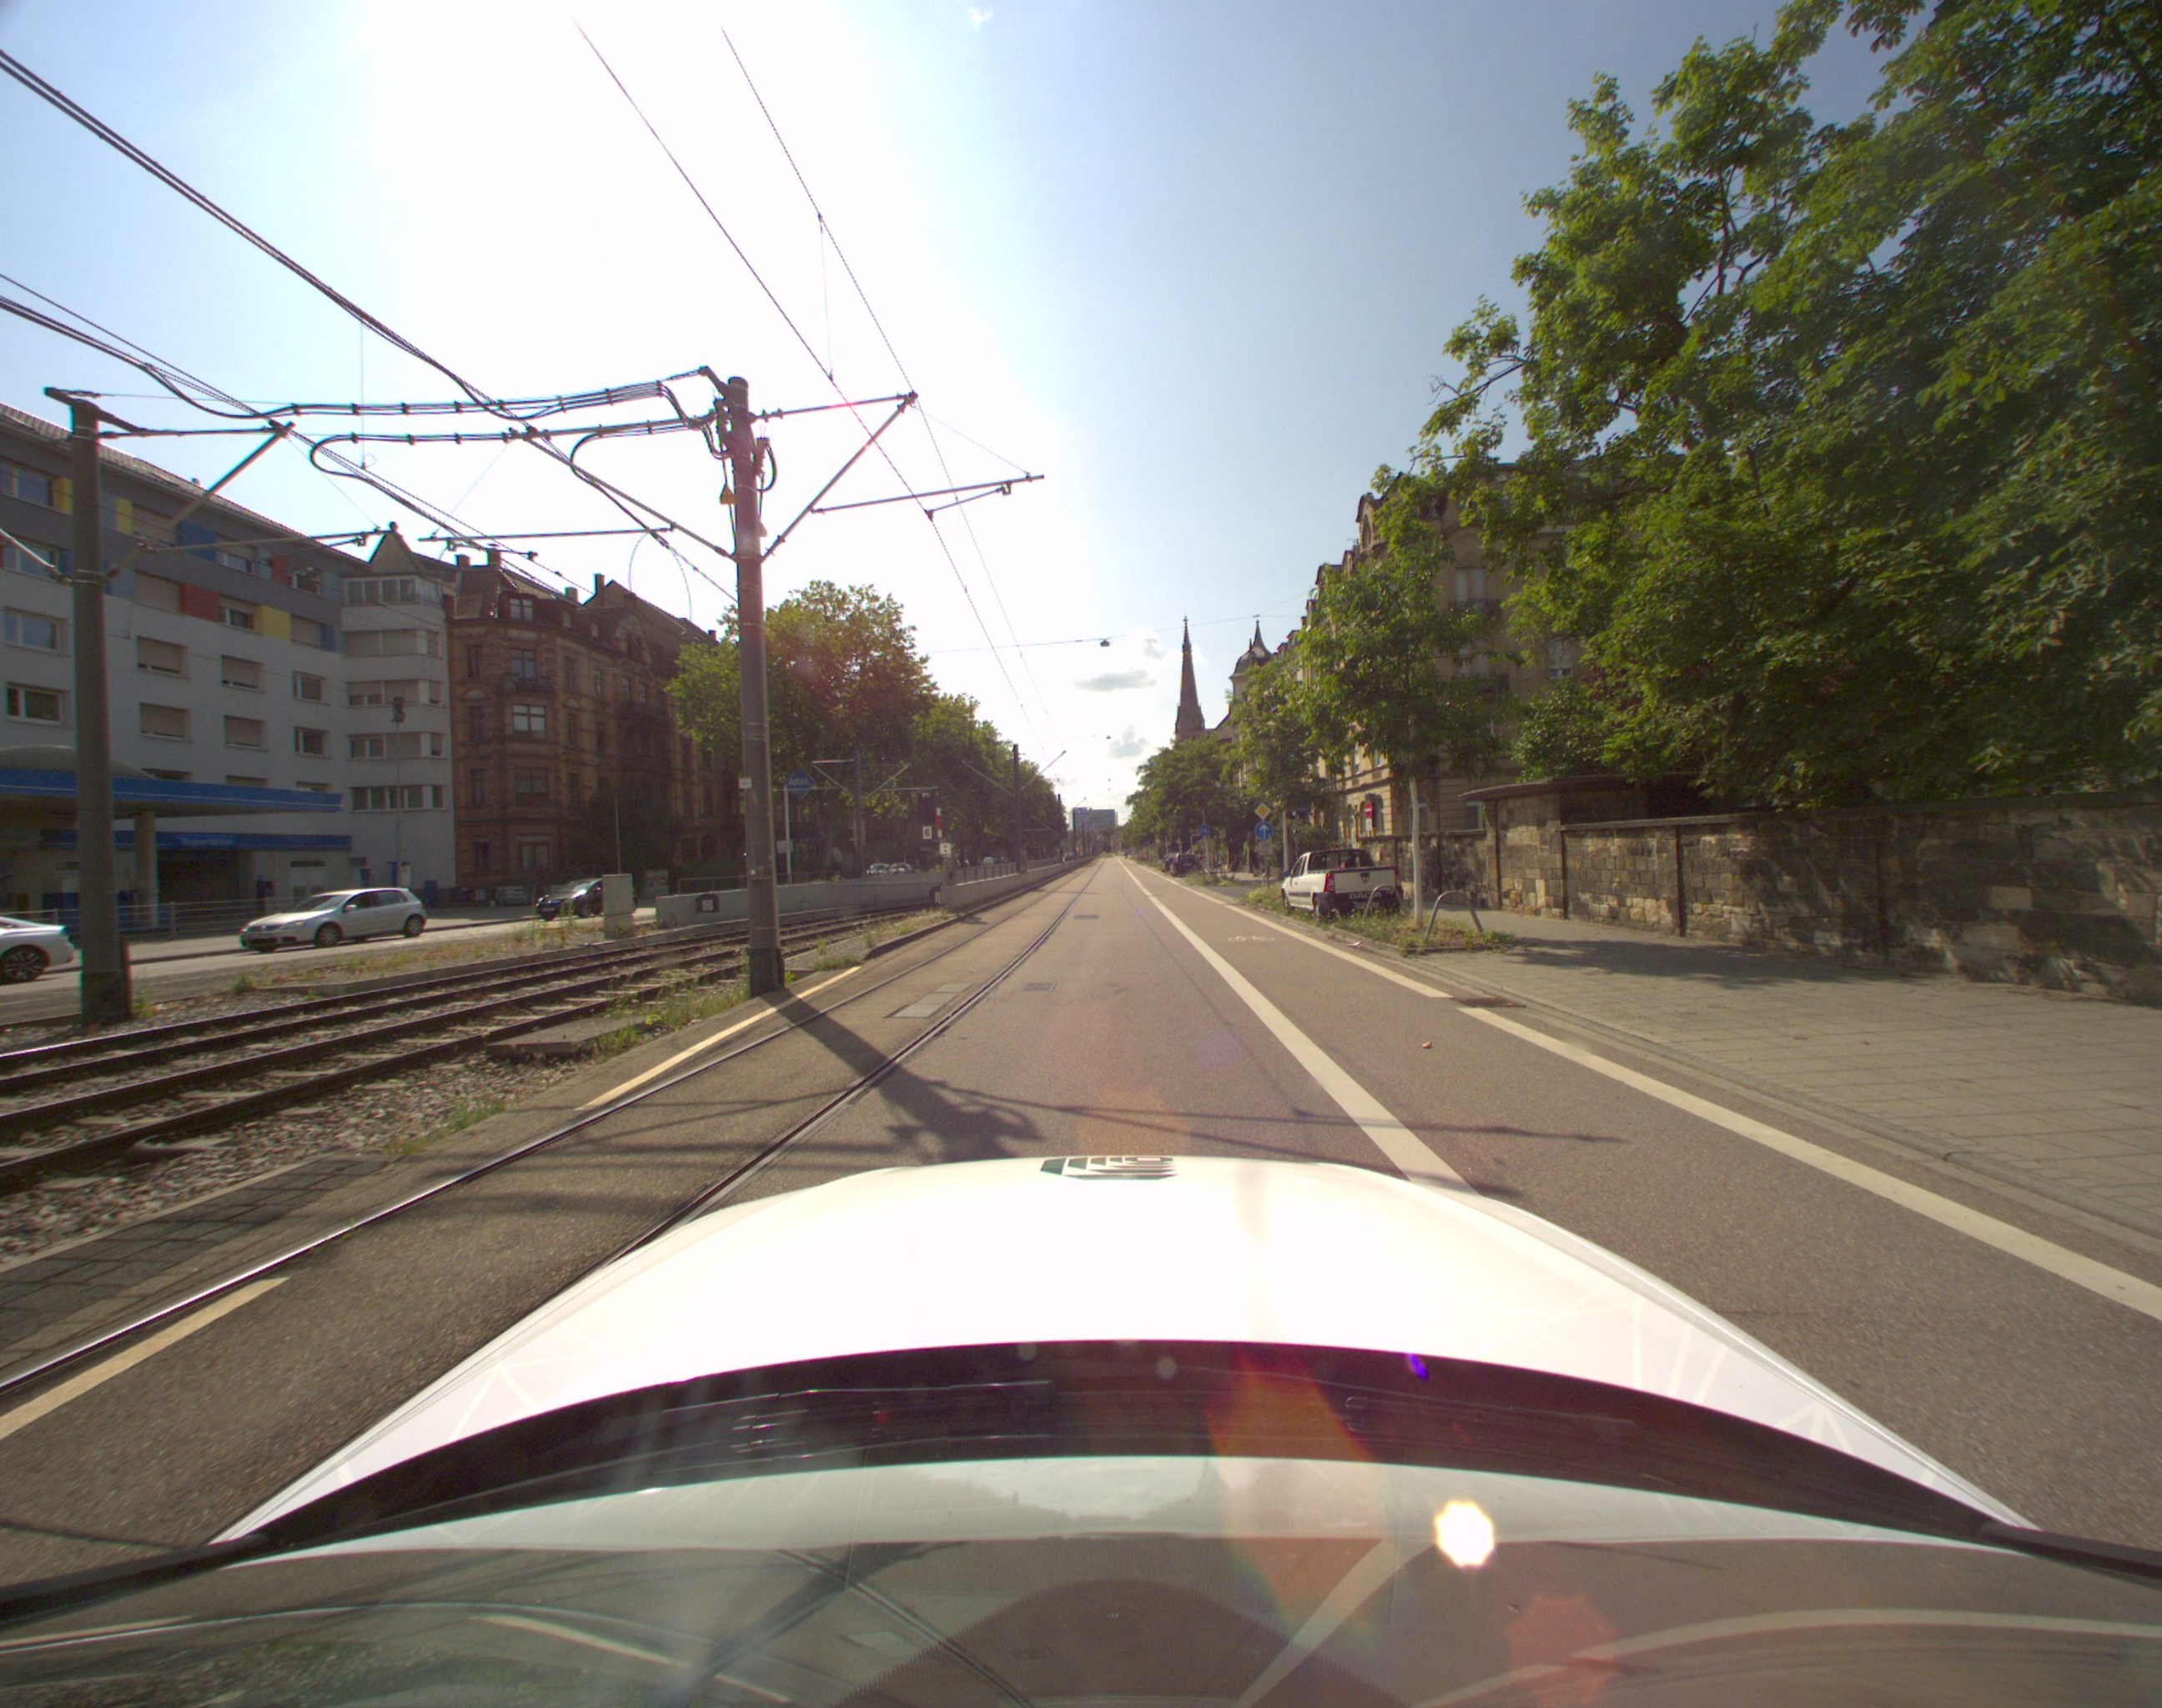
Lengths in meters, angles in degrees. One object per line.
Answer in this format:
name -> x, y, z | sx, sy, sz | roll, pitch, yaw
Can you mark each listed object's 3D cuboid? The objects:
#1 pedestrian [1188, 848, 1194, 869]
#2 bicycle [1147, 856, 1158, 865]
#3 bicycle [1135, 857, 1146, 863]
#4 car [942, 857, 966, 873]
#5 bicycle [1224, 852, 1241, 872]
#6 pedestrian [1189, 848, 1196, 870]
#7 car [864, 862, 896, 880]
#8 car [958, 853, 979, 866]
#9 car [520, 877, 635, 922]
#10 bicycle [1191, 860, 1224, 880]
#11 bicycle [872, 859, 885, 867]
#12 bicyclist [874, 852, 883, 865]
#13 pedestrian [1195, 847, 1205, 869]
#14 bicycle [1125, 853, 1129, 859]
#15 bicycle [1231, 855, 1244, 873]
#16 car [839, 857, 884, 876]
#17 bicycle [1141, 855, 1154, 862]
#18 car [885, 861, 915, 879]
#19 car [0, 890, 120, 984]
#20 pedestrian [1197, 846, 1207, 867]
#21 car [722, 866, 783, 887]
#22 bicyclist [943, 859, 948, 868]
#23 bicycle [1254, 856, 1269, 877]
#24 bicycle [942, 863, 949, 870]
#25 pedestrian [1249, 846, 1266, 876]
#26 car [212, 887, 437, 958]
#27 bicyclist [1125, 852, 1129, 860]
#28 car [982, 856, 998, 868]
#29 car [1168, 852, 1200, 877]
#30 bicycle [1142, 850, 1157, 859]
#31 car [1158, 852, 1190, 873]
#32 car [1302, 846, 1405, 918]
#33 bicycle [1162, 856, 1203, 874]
pedestrian -> 8.973, 0.347, 66.271 | 0.316, 1.706, 0.462 | -5, 0, 16
bicycle -> 9.208, 0.871, 105.326 | 0.651, 1.038, 1.810 | -4, 0, -19
bicycle -> 10.209, 1.024, 139.342 | 1.811, 0.902, 0.603 | -4, 0, -2
car -> -15.725, 1.324, 101.002 | 1.708, 1.691, 3.739 | -4, 1, 8
bicycle -> 10.316, 0.541, 55.540 | 0.655, 1.248, 2.944 | -5, 0, 2
pedestrian -> 9.142, 0.388, 66.772 | 0.457, 1.804, 0.319 | -5, 0, 0
car -> -16.847, 1.422, 68.527 | 1.490, 1.303, 3.496 | -5, 0, 4
car -> -15.899, 0.815, 115.436 | 1.985, 1.636, 4.005 | -5, 0, 4
car -> -18.987, 1.670, 30.916 | 1.659, 1.416, 3.790 | -2, 0, 7
bicycle -> 7.028, 0.883, 45.279 | 1.702, 1.069, 0.470 | -2, 0, -4
bicycle -> -23.232, 1.002, 93.465 | 0.668, 0.913, 2.369 | -2, 0, 2
bicyclist -> -23.235, 0.479, 93.525 | 0.686, 1.455, 1.045 | -2, 0, 2
pedestrian -> 9.745, 0.332, 66.561 | 0.667, 1.804, 0.319 | -5, 0, 0
bicycle -> 9.480, 0.370, 167.149 | 0.796, 1.237, 2.779 | -2, 0, 3
bicycle -> 10.109, 0.626, 52.687 | 0.426, 1.140, 2.024 | -5, 0, 2
car -> -24.568, 1.418, 91.265 | 4.387, 1.918, 2.000 | -2, 0, 0
bicycle -> 10.103, 0.741, 123.134 | 1.811, 0.902, 0.651 | -4, 0, -2
car -> -16.618, 1.437, 74.749 | 1.637, 1.482, 4.003 | -5, 0, 2
car -> -20.559, 1.596, 13.973 | 1.940, 1.606, 5.079 | -2, 0, 2
pedestrian -> 9.611, 0.209, 64.723 | 0.530, 1.676, 0.571 | -5, 0, -17
car -> -25.845, 1.744, 64.150 | 3.969, 1.483, 2.002 | -2, 0, 4
bicyclist -> -18.785, 1.280, 112.705 | 0.533, 1.232, 0.724 | -2, 0, 2
bicycle -> 9.909, 0.653, 44.704 | 0.468, 1.108, 1.712 | -2, 0, 2
bicycle -> -18.771, 1.691, 112.691 | 0.533, 0.913, 2.150 | -2, 0, 2
pedestrian -> 9.689, 0.379, 44.668 | 0.720, 1.629, 0.725 | -2, 0, 2
car -> -20.164, 1.751, 22.023 | 1.714, 1.416, 4.409 | -3, 0, 4
bicyclist -> 9.482, 0.373, 167.121 | 0.767, 1.730, 1.027 | -2, 0, 3
car -> -14.954, 1.276, 133.614 | 1.832, 1.727, 4.002 | -5, 0, 2
car -> 6.815, 0.661, 54.379 | 1.679, 1.502, 4.711 | -3, 0, 3
bicycle -> 9.261, 0.088, 110.503 | 1.816, 1.145, 0.649 | -5, 0, -9
car -> 7.318, 0.658, 64.393 | 1.793, 1.526, 4.487 | -4, 0, -1
car -> 5.929, 0.538, 18.126 | 1.658, 1.416, 3.855 | 0, 1, 10
bicycle -> 7.592, 0.834, 60.863 | 2.947, 1.246, 0.790 | -2, 0, -11
